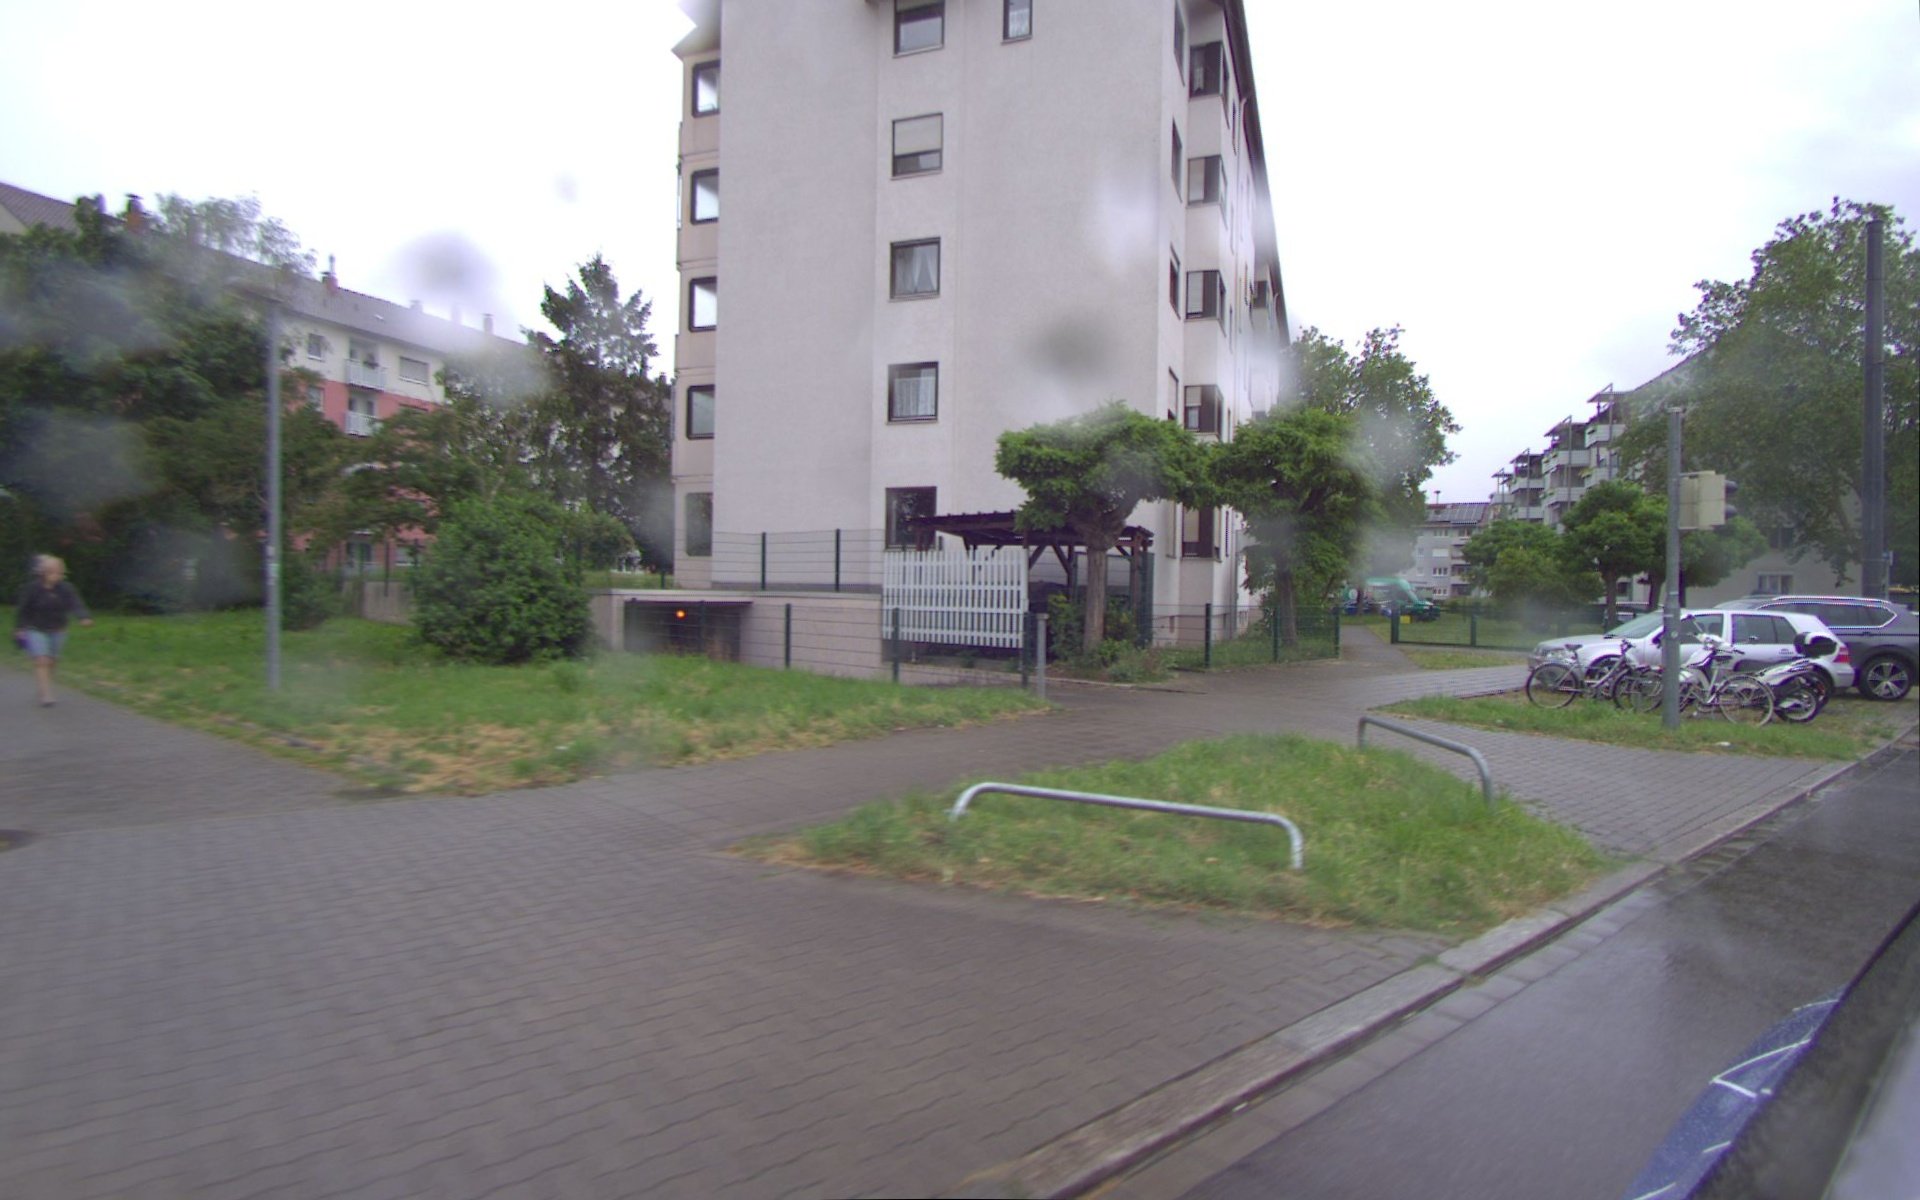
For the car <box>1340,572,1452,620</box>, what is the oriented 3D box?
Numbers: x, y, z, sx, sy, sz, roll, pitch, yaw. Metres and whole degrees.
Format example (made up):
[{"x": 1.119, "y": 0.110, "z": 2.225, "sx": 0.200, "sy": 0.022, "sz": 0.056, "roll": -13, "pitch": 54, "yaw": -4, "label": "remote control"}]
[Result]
[{"x": 27.250, "y": -0.290, "z": 63.426, "sx": 2.147, "sy": 2.813, "sz": 6.135, "roll": 1, "pitch": 1, "yaw": -38, "label": "car"}]

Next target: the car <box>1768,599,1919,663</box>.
[{"x": 25.027, "y": 0.841, "z": 27.848, "sx": 3.937, "sy": 1.526, "sz": 1.701, "roll": 2, "pitch": 3, "yaw": 11, "label": "car"}]

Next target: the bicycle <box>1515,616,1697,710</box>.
[{"x": 8.559, "y": 0.820, "z": 13.460, "sx": 1.922, "sy": 1.116, "sz": 0.628, "roll": 2, "pitch": 1, "yaw": 4, "label": "bicycle"}]

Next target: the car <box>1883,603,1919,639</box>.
[{"x": 43.160, "y": 0.930, "z": 43.966, "sx": 4.074, "sy": 1.528, "sz": 1.840, "roll": 1, "pitch": 0, "yaw": 24, "label": "car"}]

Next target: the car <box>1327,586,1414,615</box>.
[{"x": 23.838, "y": 0.016, "z": 58.829, "sx": 1.902, "sy": 1.524, "sz": 4.304, "roll": 0, "pitch": 2, "yaw": -39, "label": "car"}]

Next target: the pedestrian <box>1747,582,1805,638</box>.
[{"x": 27.703, "y": 0.335, "z": 34.368, "sx": 1.405, "sy": 1.836, "sz": 1.104, "roll": 1, "pitch": 0, "yaw": -31, "label": "pedestrian"}]

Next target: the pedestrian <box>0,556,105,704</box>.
[{"x": -10.278, "y": 0.312, "z": 11.388, "sx": 0.834, "sy": 1.590, "sz": 0.804, "roll": 1, "pitch": 0, "yaw": 34, "label": "pedestrian"}]

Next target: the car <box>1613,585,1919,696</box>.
[{"x": 14.086, "y": 0.643, "z": 17.488, "sx": 4.291, "sy": 1.672, "sz": 1.848, "roll": 2, "pitch": 1, "yaw": 17, "label": "car"}]

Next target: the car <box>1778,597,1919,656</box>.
[{"x": 27.206, "y": 0.784, "z": 30.136, "sx": 3.941, "sy": 1.526, "sz": 1.777, "roll": 2, "pitch": 3, "yaw": 14, "label": "car"}]

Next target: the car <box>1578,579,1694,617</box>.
[{"x": 32.576, "y": -0.125, "z": 48.886, "sx": 1.837, "sy": 1.701, "sz": 4.304, "roll": 0, "pitch": 1, "yaw": -39, "label": "car"}]

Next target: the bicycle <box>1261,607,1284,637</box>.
[{"x": 9.576, "y": 0.656, "z": 31.023, "sx": 0.485, "sy": 0.858, "sz": 1.559, "roll": 2, "pitch": 1, "yaw": 23, "label": "bicycle"}]

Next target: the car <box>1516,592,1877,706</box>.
[{"x": 11.082, "y": 0.678, "z": 15.562, "sx": 4.065, "sy": 1.440, "sz": 1.731, "roll": 2, "pitch": 1, "yaw": 14, "label": "car"}]

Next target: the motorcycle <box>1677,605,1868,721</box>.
[{"x": 10.493, "y": 0.786, "z": 13.139, "sx": 1.754, "sy": 1.353, "sz": 0.686, "roll": 2, "pitch": 1, "yaw": 14, "label": "motorcycle"}]

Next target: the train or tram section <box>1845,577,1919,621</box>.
[{"x": 75.362, "y": -0.126, "z": 81.543, "sx": 2.708, "sy": 3.381, "sz": 6.395, "roll": 2, "pitch": 1, "yaw": 4, "label": "train or tram section"}]
